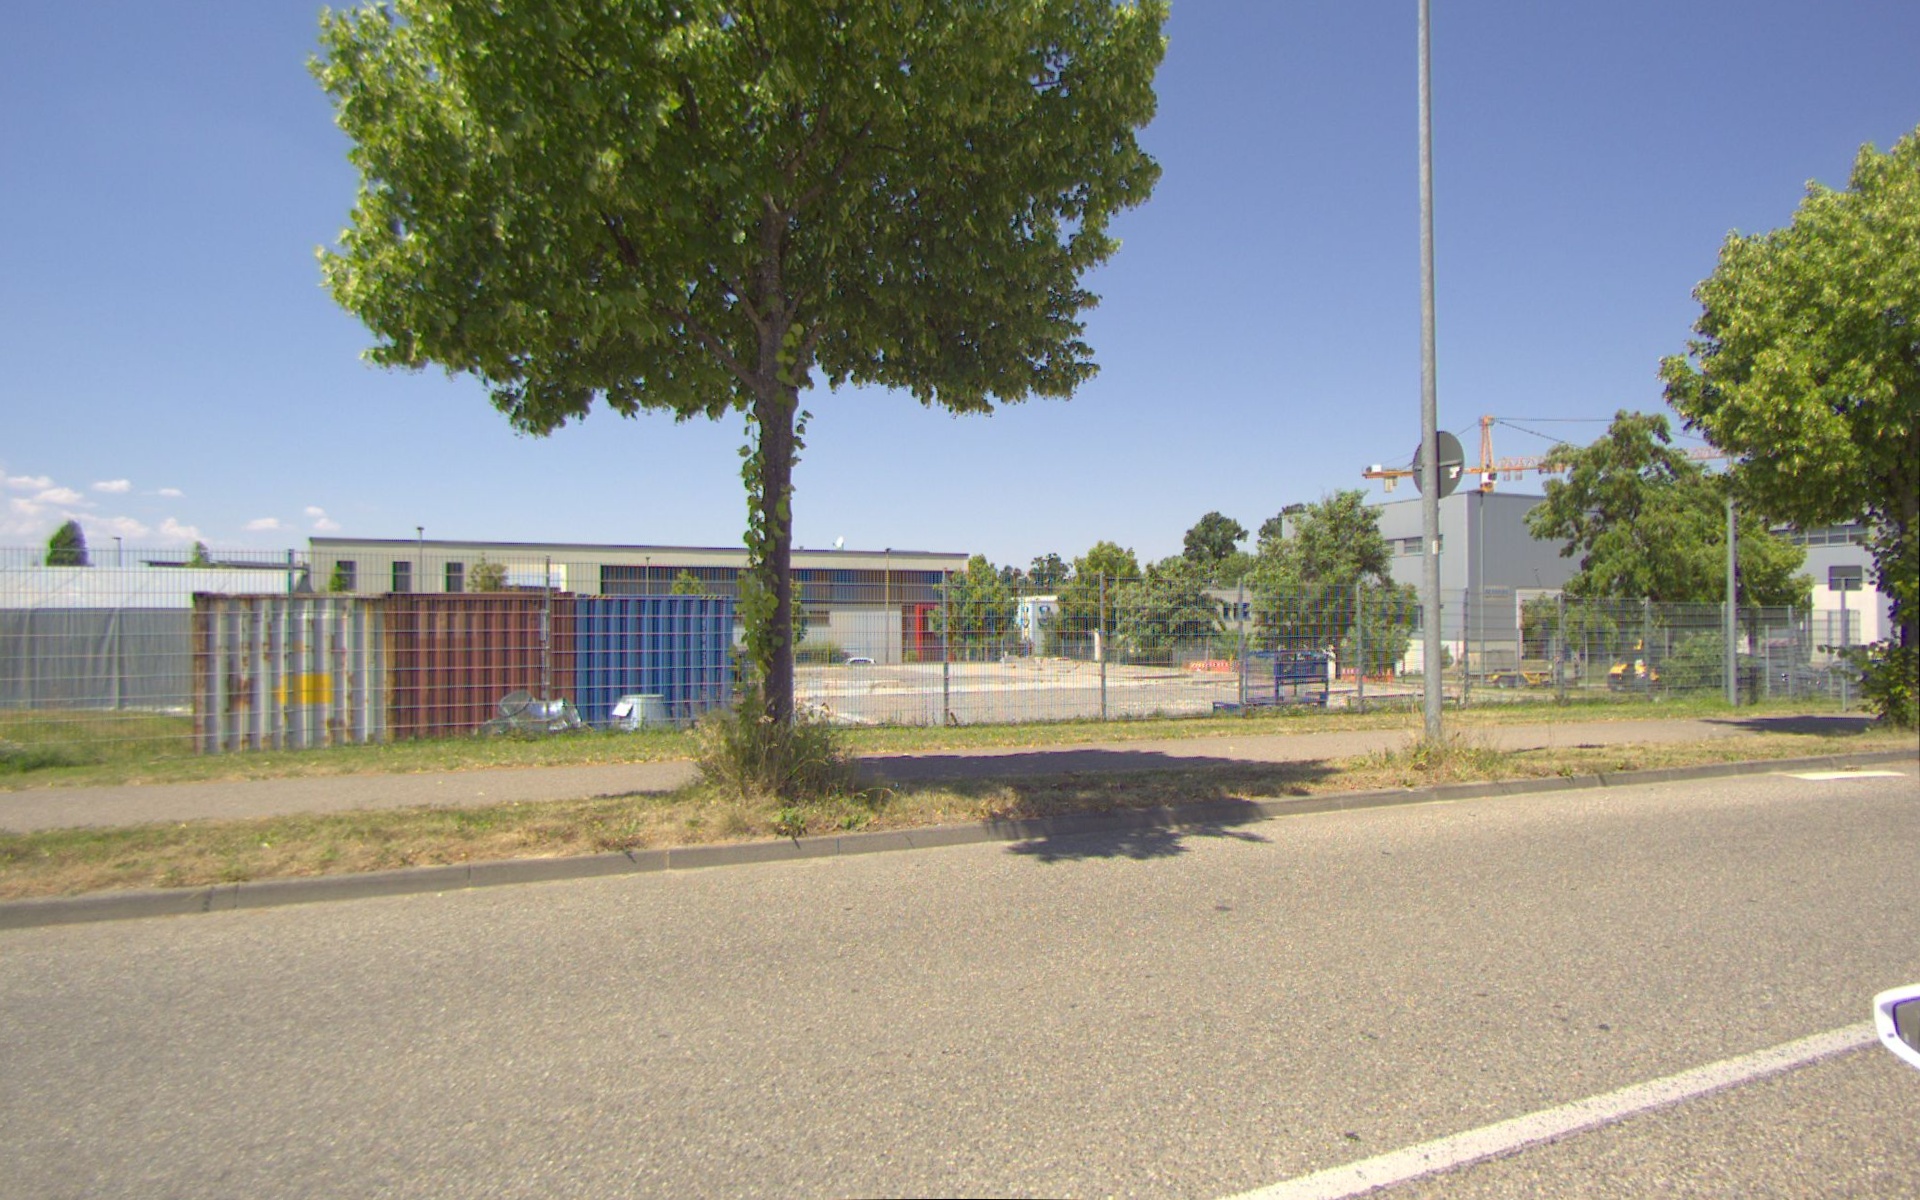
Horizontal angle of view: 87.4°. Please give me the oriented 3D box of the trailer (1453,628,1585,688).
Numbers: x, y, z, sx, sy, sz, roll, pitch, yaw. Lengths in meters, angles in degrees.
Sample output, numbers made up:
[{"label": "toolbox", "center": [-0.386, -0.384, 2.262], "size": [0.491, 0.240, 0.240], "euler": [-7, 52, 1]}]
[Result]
[{"label": "trailer", "center": [29.546, 3.054, 53.290], "size": [2.631, 2.894, 5.483], "euler": [-1, -2, -27]}]

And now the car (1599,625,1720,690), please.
[{"label": "car", "center": [32.327, 2.608, 46.418], "size": [5.720, 2.768, 1.988], "euler": [0, -2, -26]}]

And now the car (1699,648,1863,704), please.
[{"label": "car", "center": [27.177, 2.478, 33.477], "size": [1.833, 1.655, 4.602], "euler": [2, -3, 2]}]
